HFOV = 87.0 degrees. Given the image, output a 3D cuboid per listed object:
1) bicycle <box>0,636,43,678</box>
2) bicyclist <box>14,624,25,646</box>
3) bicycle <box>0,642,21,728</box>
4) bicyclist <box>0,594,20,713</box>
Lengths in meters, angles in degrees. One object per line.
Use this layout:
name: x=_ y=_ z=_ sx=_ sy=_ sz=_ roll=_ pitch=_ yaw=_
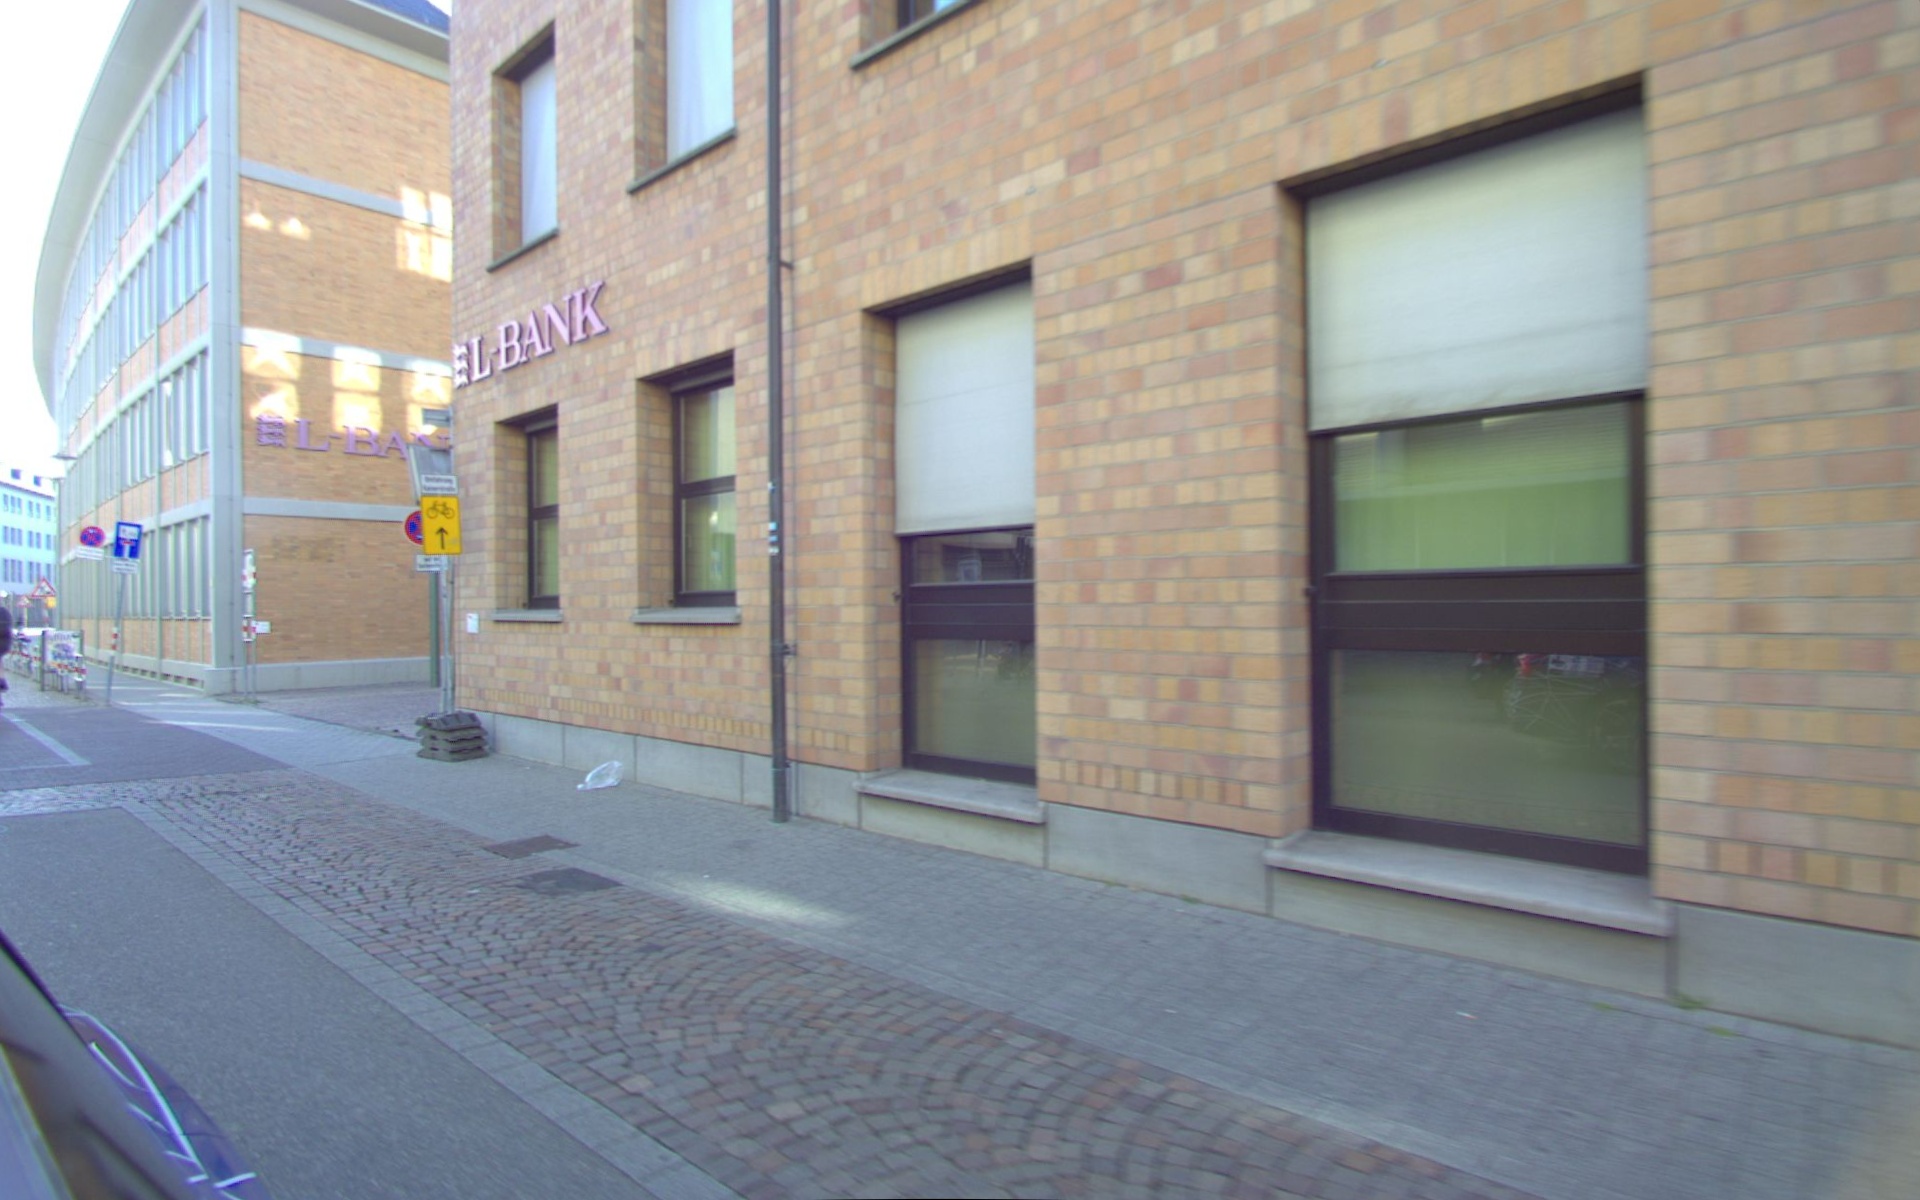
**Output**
bicycle: x=-25.157 y=1.501 z=27.053 sx=1.819 sy=1.062 sz=0.620 roll=-1 pitch=-1 yaw=36
bicyclist: x=-68.290 y=2.567 z=73.494 sx=0.572 sy=1.586 sz=0.693 roll=-1 pitch=-1 yaw=-41
bicycle: x=-13.812 y=1.163 z=14.209 sx=1.734 sy=1.140 sz=0.644 roll=0 pitch=-4 yaw=40
bicyclist: x=-13.809 y=0.739 z=14.243 sx=0.925 sy=1.655 sz=0.655 roll=0 pitch=-4 yaw=40
